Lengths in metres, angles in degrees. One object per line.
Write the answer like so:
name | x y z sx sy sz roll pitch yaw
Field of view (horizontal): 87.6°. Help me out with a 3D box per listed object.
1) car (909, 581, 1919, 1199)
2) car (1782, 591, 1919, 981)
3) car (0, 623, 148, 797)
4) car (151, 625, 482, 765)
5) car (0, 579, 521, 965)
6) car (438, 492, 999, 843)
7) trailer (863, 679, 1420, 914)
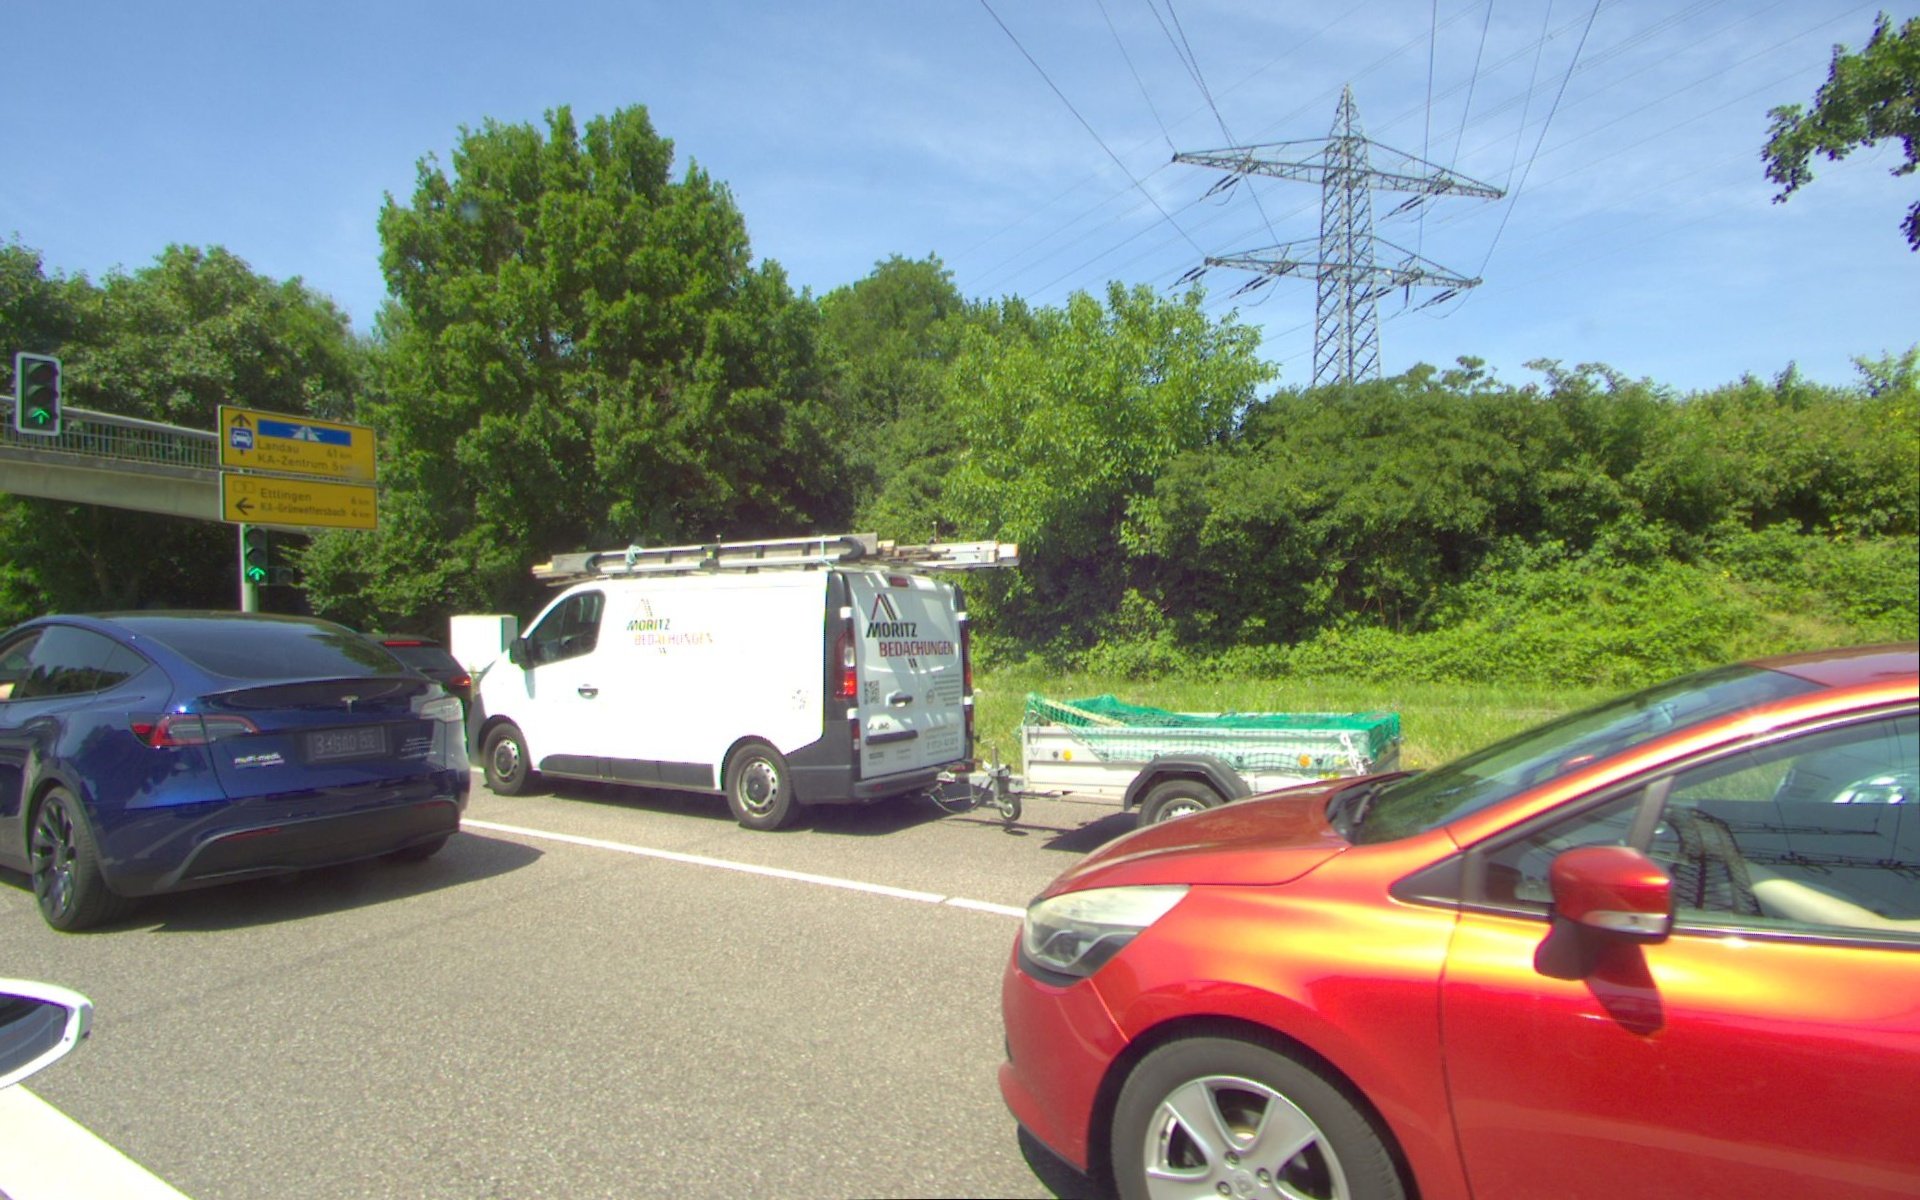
car | 2.028 0.732 2.146 4.005 1.480 1.740 -1 -2 31
car | 6.003 0.750 3.904 4.105 1.616 1.761 -1 0 32
car | -9.866 0.980 9.746 3.882 1.496 1.897 -1 -2 32
car | -8.229 1.079 12.719 4.317 1.496 1.897 -1 -2 32
car | -5.001 0.798 6.293 4.454 1.665 1.898 -1 -2 31
car | -2.288 0.522 8.940 5.002 2.379 1.930 -1 -1 32
trailer | 1.167 1.121 6.667 3.276 1.019 1.703 -1 -2 32
